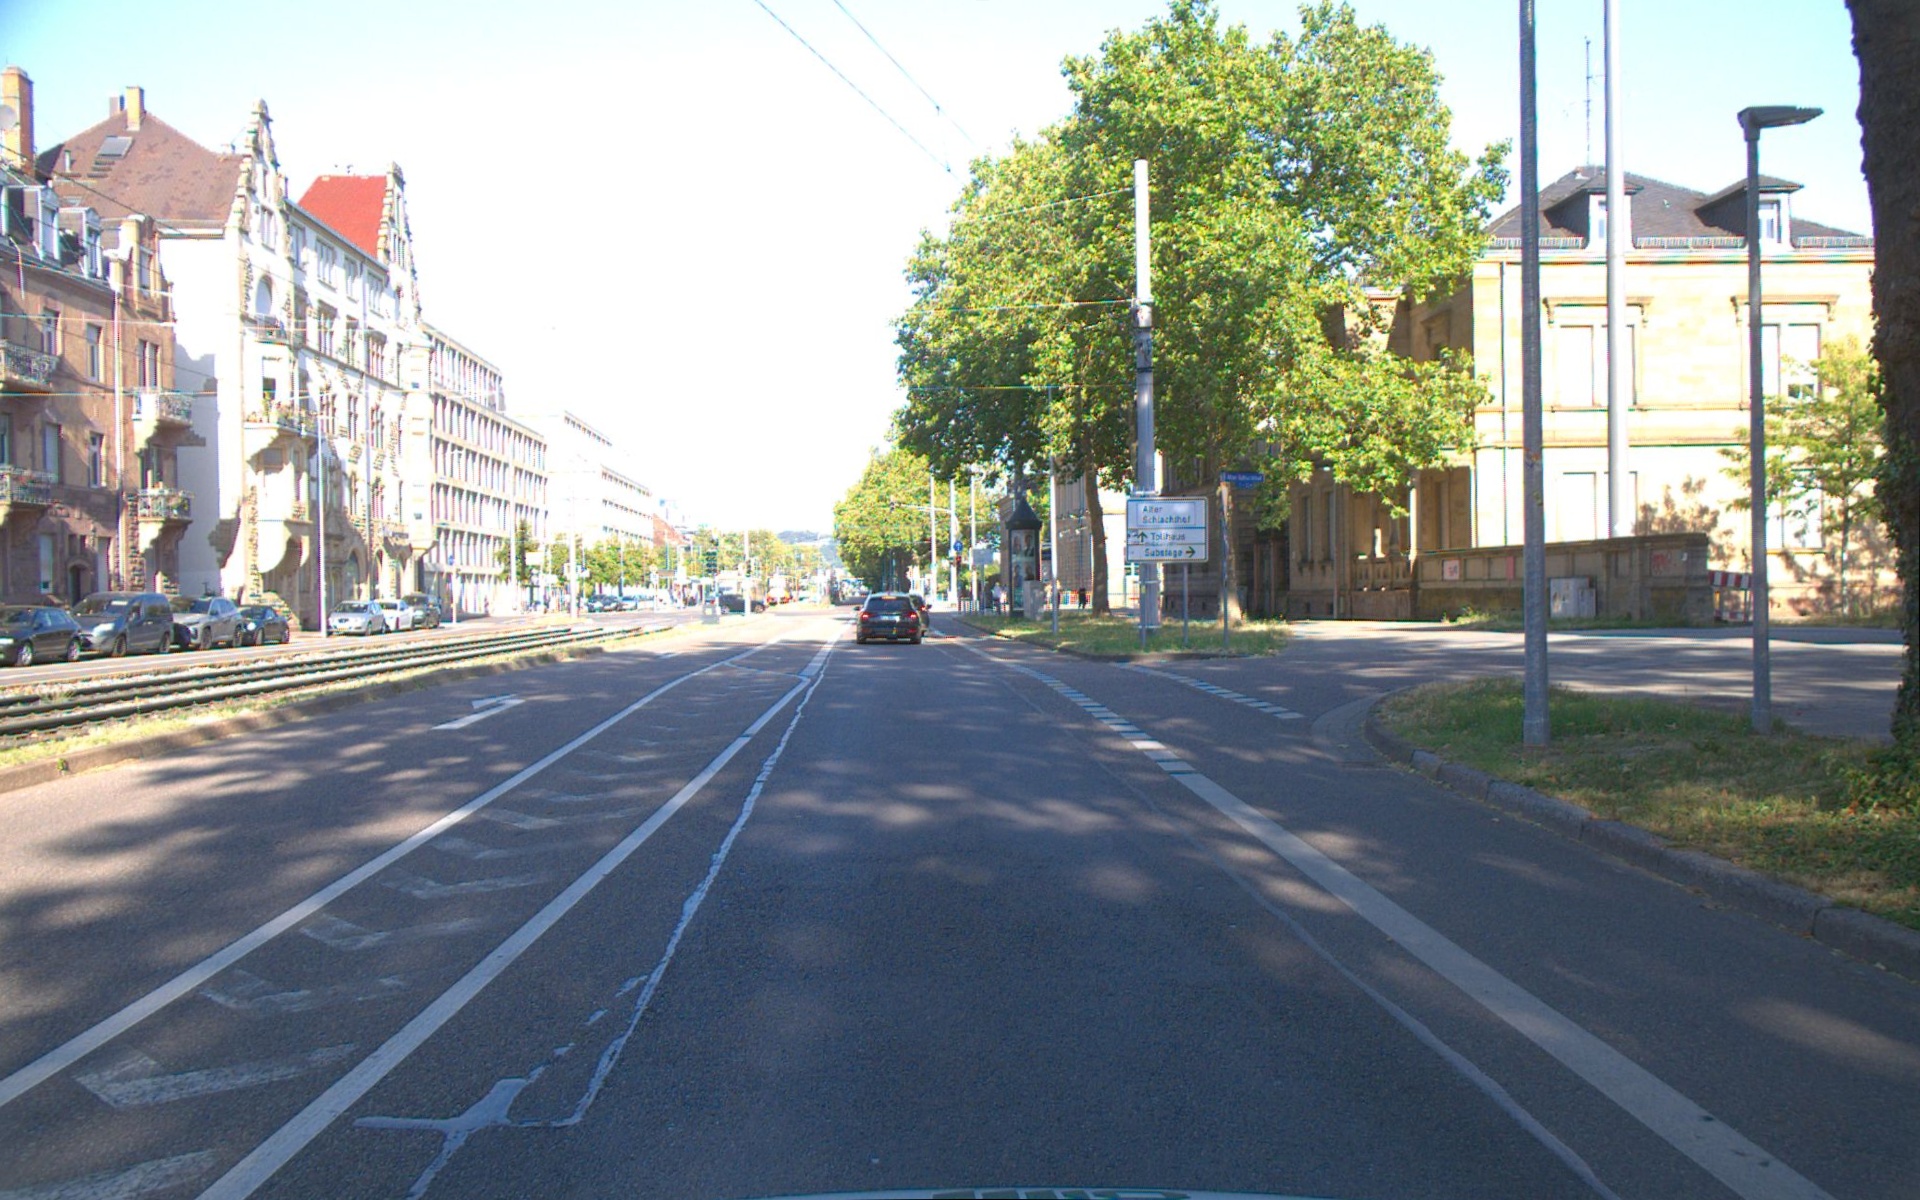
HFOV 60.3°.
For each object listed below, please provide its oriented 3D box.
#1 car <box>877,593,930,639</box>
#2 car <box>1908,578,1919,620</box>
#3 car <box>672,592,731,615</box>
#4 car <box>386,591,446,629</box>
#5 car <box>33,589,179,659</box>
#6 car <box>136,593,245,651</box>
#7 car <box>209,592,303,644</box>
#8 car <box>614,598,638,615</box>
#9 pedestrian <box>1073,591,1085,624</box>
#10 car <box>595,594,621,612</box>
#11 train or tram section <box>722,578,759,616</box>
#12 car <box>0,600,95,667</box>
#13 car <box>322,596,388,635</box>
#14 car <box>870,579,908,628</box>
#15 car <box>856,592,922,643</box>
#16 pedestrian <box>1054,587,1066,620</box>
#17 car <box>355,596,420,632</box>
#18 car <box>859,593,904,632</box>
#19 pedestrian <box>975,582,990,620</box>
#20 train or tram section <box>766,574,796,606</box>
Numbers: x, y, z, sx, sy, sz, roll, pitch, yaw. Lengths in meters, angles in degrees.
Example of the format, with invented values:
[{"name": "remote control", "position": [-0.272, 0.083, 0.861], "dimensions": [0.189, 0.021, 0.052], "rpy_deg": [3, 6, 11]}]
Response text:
[{"name": "car", "position": [-1.995, 0.545, 57.738], "dimensions": [1.758, 1.537, 3.998], "rpy_deg": [-1, 0, -3]}, {"name": "car", "position": [37.425, -0.041, 60.971], "dimensions": [4.028, 1.537, 1.800], "rpy_deg": [0, -1, 19]}, {"name": "car", "position": [-17.977, 0.273, 115.054], "dimensions": [1.764, 1.537, 3.984], "rpy_deg": [0, -1, 36]}, {"name": "car", "position": [-26.562, 0.482, 80.886], "dimensions": [1.759, 1.749, 4.181], "rpy_deg": [2, 0, -5]}, {"name": "car", "position": [-23.818, 0.642, 46.336], "dimensions": [1.758, 1.784, 4.454], "rpy_deg": [2, 0, -1]}, {"name": "car", "position": [-24.197, 0.671, 52.163], "dimensions": [1.653, 1.681, 4.196], "rpy_deg": [2, 0, -4]}, {"name": "car", "position": [-24.668, 0.611, 58.076], "dimensions": [1.653, 1.681, 4.196], "rpy_deg": [2, 0, -4]}, {"name": "car", "position": [-31.057, 0.588, 153.866], "dimensions": [1.759, 1.536, 3.995], "rpy_deg": [-1, 0, -6]}, {"name": "pedestrian", "position": [6.419, 0.404, 89.276], "dimensions": [0.575, 1.758, 0.650], "rpy_deg": [1, 0, 11]}, {"name": "car", "position": [-31.317, 0.295, 147.236], "dimensions": [1.759, 1.536, 3.995], "rpy_deg": [-1, 0, -6]}, {"name": "train or tram section", "position": [-20.989, -0.288, 158.570], "dimensions": [2.769, 3.511, 9.058], "rpy_deg": [-1, 0, -3]}, {"name": "car", "position": [-23.632, 0.803, 41.615], "dimensions": [1.759, 1.536, 3.997], "rpy_deg": [2, 0, -4]}, {"name": "car", "position": [-25.528, 0.637, 69.883], "dimensions": [1.760, 1.536, 3.993], "rpy_deg": [2, 0, -8]}, {"name": "car", "position": [-3.491, 0.148, 81.170], "dimensions": [1.758, 2.310, 3.998], "rpy_deg": [-1, 0, -3]}, {"name": "car", "position": [-2.105, 0.487, 48.237], "dimensions": [1.797, 1.415, 4.155], "rpy_deg": [0, 0, -4]}, {"name": "pedestrian", "position": [5.422, 0.177, 89.491], "dimensions": [0.575, 1.758, 0.650], "rpy_deg": [1, 0, 9]}, {"name": "car", "position": [-26.028, 0.607, 75.347], "dimensions": [1.759, 1.536, 4.181], "rpy_deg": [2, 0, -5]}, {"name": "car", "position": [-3.185, 0.491, 67.042], "dimensions": [1.758, 1.537, 3.998], "rpy_deg": [-1, 0, -3]}, {"name": "pedestrian", "position": [1.048, 0.058, 77.510], "dimensions": [0.575, 1.758, 0.650], "rpy_deg": [1, 0, 9]}, {"name": "train or tram section", "position": [-20.426, -1.182, 189.104], "dimensions": [2.769, 3.511, 9.059], "rpy_deg": [-1, 0, -2]}]
